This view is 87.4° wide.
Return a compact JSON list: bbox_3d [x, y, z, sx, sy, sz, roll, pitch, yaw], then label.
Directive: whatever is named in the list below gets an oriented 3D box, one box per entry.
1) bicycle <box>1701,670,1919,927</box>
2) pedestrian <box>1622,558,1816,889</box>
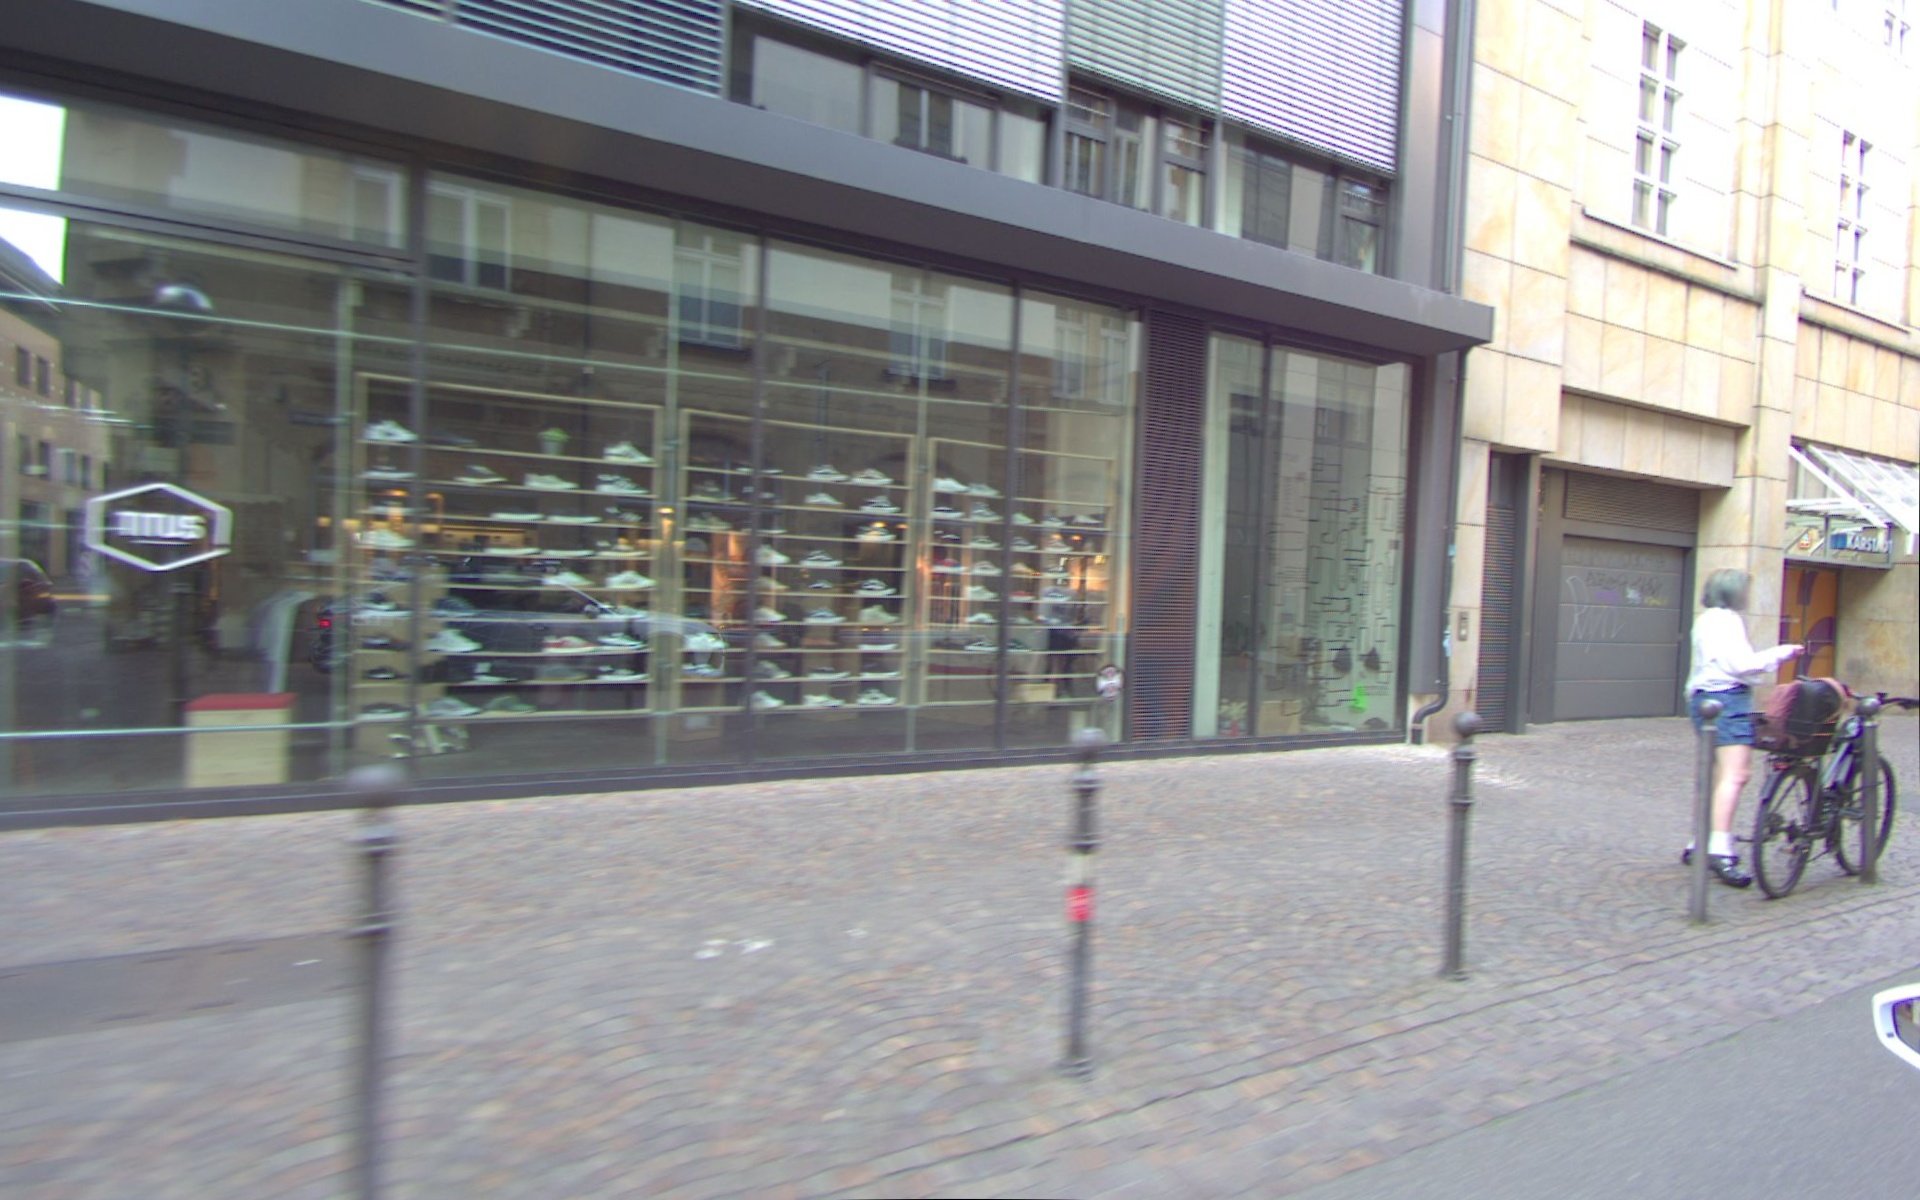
[{"bbox_3d":[4.906,1.003,5.510,1.891,1.169,0.530,1,3,-28],"label":"bicycle"},{"bbox_3d":[4.376,0.652,5.808,0.758,1.741,0.589,5,3,40],"label":"pedestrian"}]
